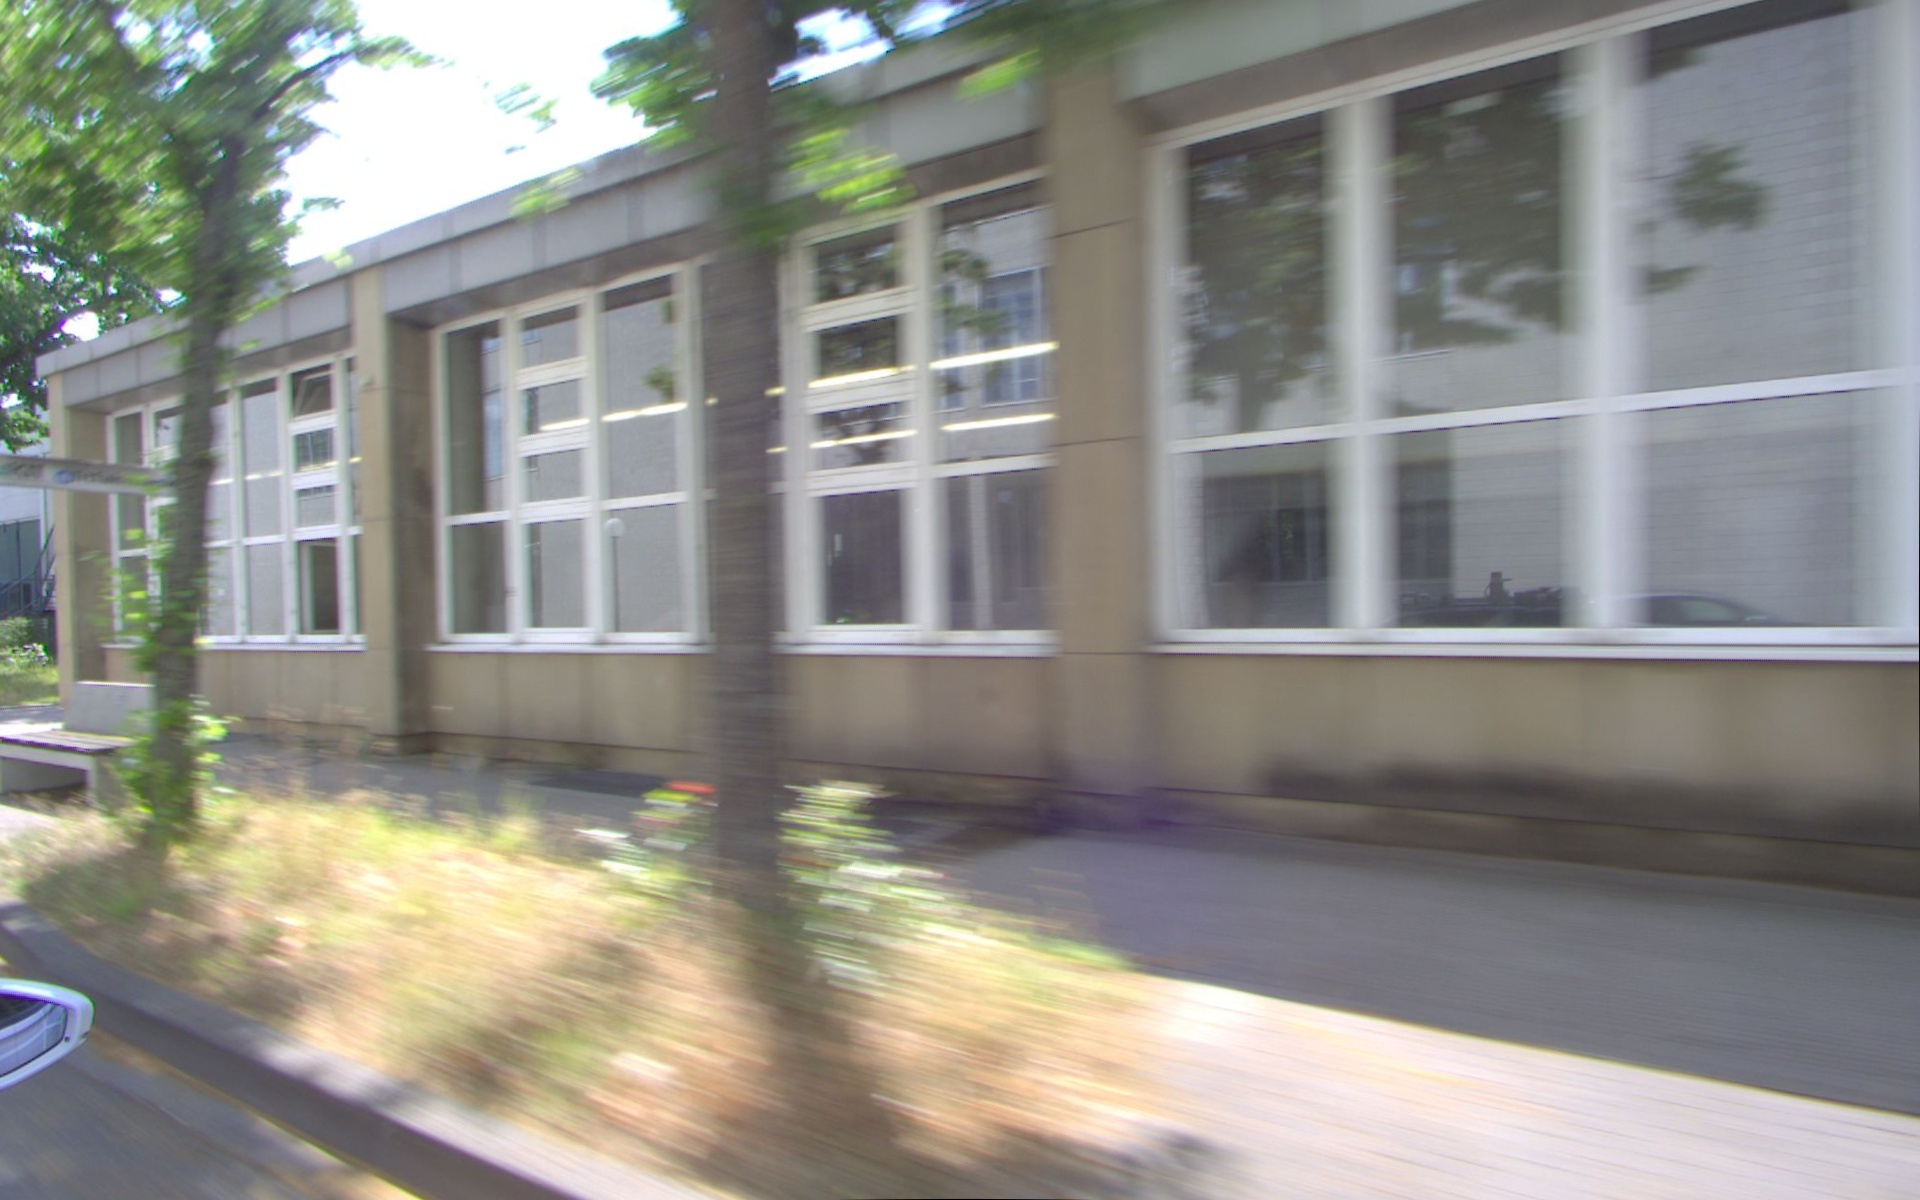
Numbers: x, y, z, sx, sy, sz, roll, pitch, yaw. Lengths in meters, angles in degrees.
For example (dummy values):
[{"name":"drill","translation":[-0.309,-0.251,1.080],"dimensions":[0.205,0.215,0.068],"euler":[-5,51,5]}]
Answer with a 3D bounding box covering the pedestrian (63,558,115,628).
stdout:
[{"name":"pedestrian","translation":[-25.977,-0.205,29.883],"dimensions":[0.936,2.040,0.924],"euler":[-1,1,34]}]
